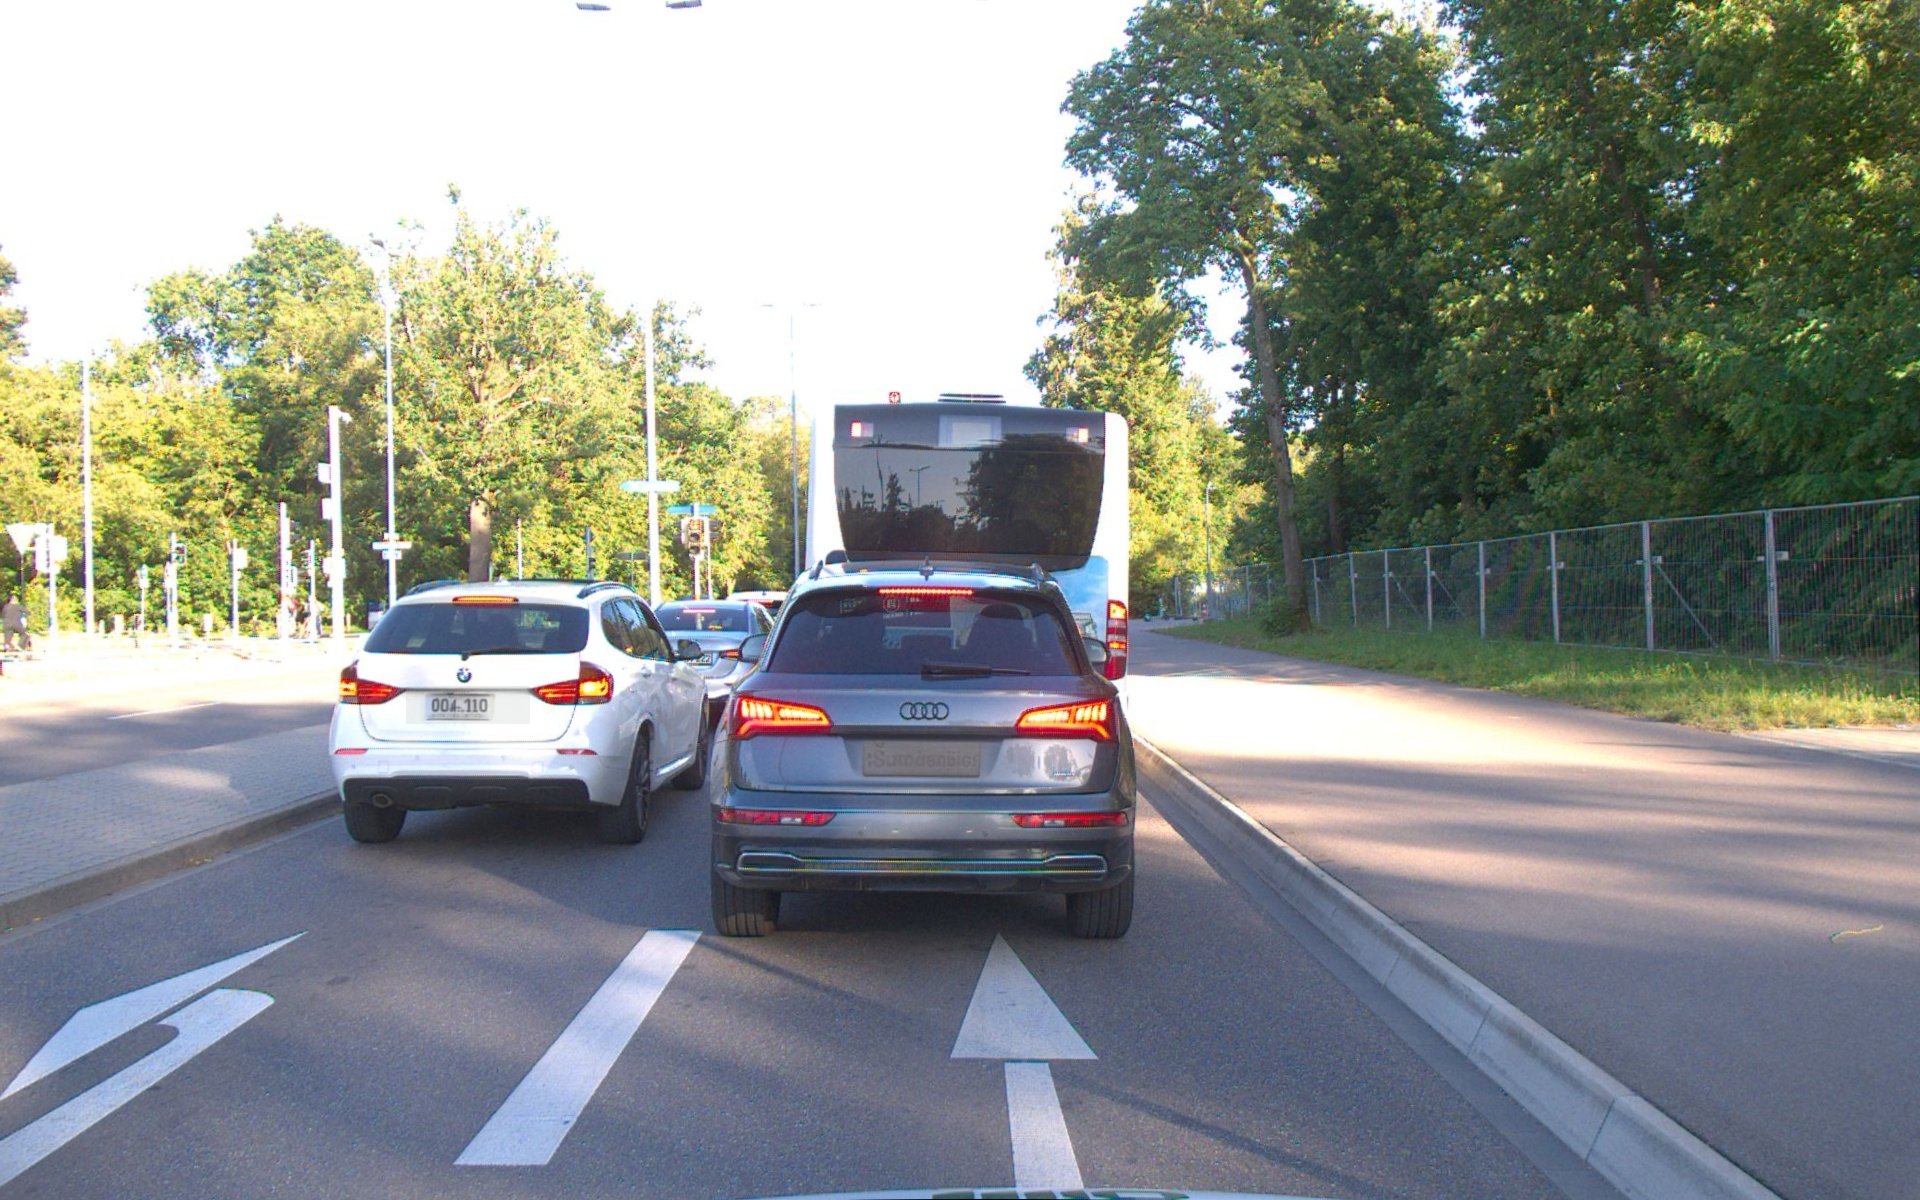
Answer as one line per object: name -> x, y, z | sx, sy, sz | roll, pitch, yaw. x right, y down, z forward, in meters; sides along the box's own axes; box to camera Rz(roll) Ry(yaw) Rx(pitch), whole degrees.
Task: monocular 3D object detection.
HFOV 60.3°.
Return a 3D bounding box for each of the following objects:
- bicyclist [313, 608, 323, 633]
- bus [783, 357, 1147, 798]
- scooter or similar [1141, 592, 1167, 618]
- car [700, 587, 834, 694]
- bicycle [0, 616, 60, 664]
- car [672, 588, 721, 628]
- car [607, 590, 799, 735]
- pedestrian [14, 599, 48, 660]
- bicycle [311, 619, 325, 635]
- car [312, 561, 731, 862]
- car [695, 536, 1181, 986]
bicyclist -> -24.692, 0.786, 63.613 | 0.268, 0.979, 0.240 | 1, -1, -6
bus -> 0.062, -0.200, 15.100 | 2.623, 3.196, 5.882 | 1, 1, 0
scooter or similar -> 9.184, 0.246, 78.118 | 1.158, 1.195, 0.659 | 1, 0, 11
car -> -3.119, 0.610, 27.419 | 1.771, 1.599, 4.000 | 1, 1, -1
bicycle -> -24.163, 1.029, 42.997 | 0.458, 1.198, 2.003 | 1, 0, -1
car -> -11.818, 0.361, 74.419 | 1.955, 1.691, 3.995 | -2, 0, -6
car -> -2.922, 0.648, 19.639 | 1.749, 1.469, 4.276 | 1, 1, -2
pedestrian -> -24.170, 0.763, 43.041 | 0.472, 1.589, 0.648 | 1, -1, -1
bicycle -> -24.699, 1.038, 63.632 | 0.261, 0.592, 0.838 | 1, 0, -6
car -> -2.684, 0.601, 11.199 | 1.683, 1.608, 4.433 | 1, 0, -1
car -> -0.109, 0.589, 8.316 | 1.830, 1.693, 4.000 | 1, 1, -1
